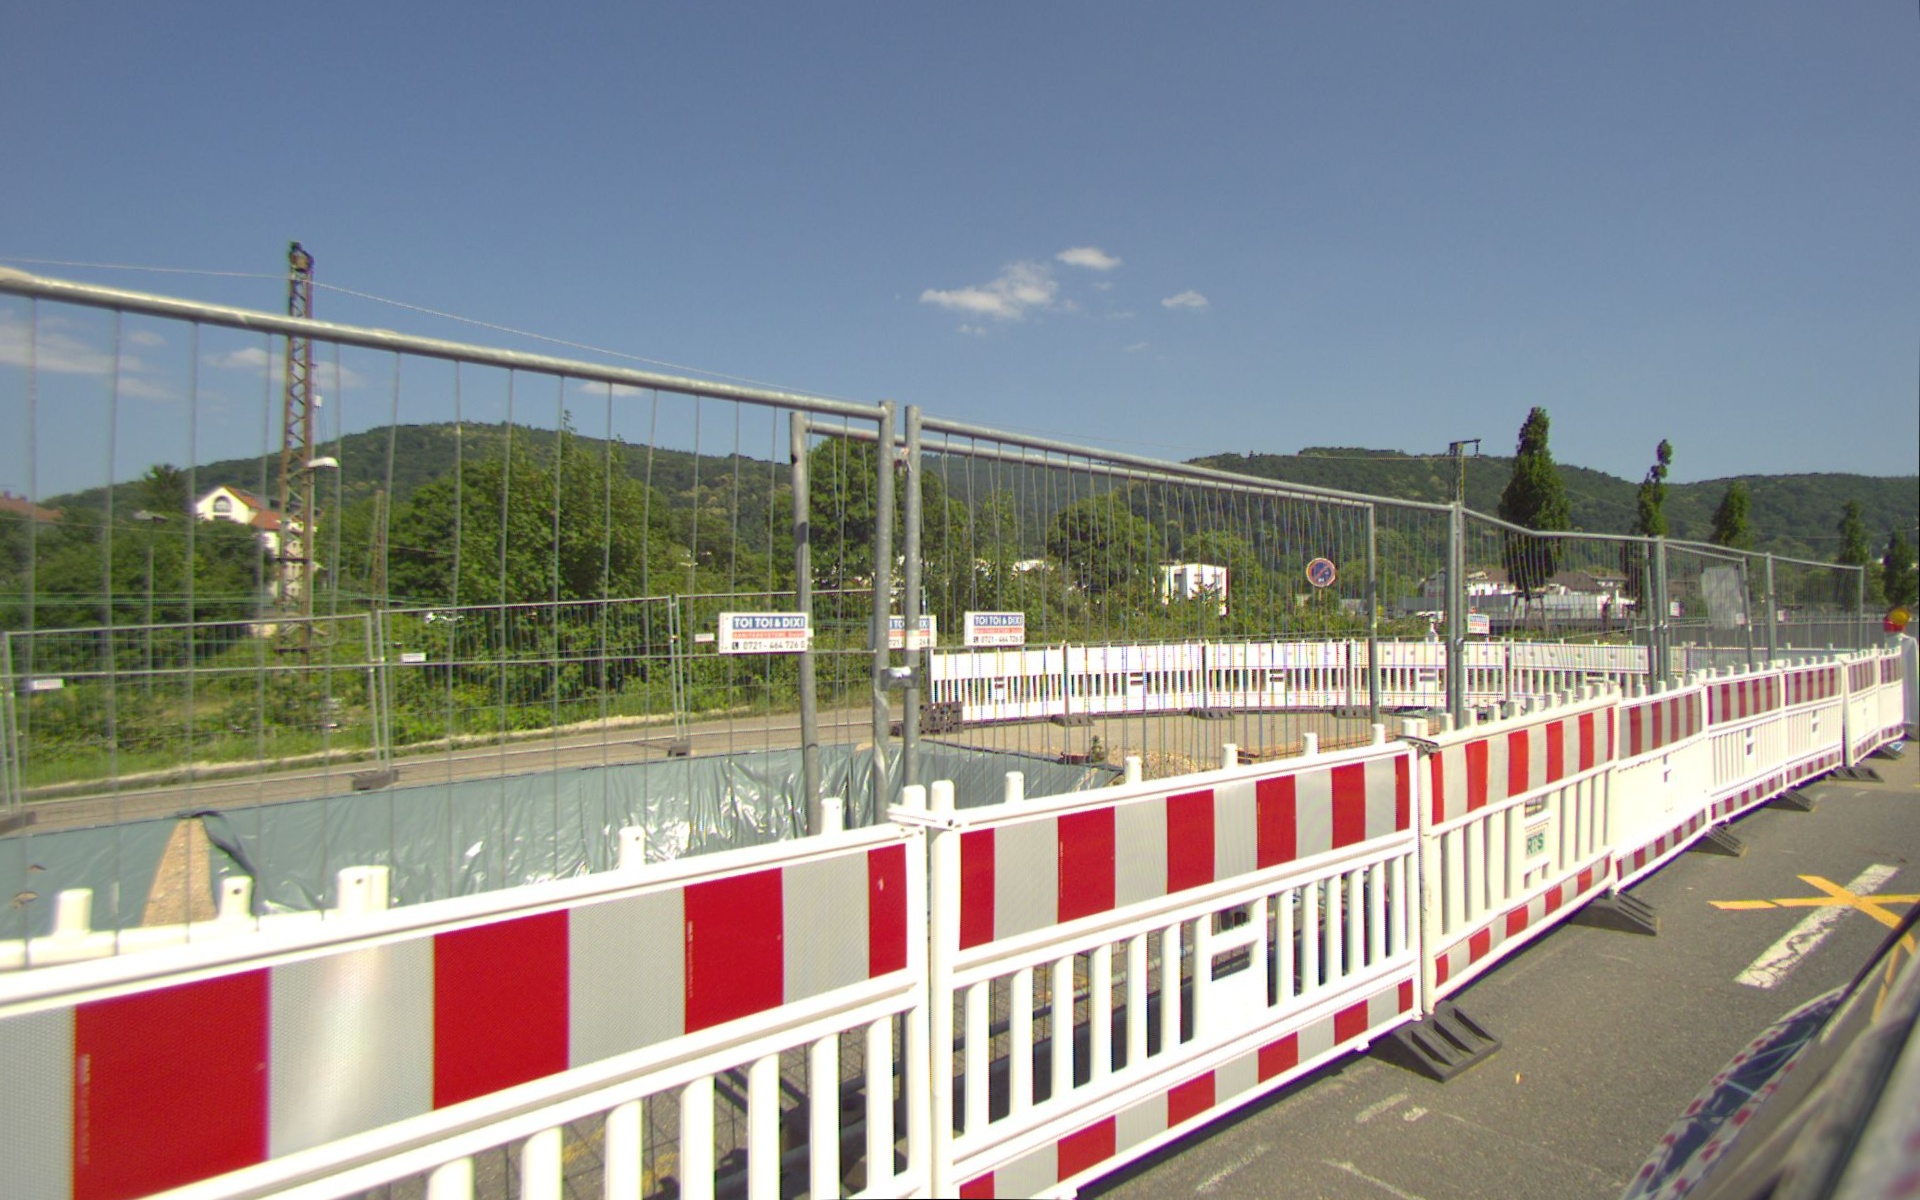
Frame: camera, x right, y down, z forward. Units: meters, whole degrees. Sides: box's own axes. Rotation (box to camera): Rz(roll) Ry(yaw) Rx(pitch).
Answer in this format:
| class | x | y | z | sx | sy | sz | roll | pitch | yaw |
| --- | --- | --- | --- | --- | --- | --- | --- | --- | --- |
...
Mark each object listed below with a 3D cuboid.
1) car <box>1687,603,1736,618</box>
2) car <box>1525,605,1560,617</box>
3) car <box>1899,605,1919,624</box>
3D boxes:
| class | x | y | z | sx | sy | sz | roll | pitch | yaw |
| --- | --- | --- | --- | --- | --- | --- | --- | --- | --- |
| car | 86.042 | 1.213 | 115.881 | 1.794 | 1.647 | 4.377 | -3 | 0 | -9 |
| car | 81.394 | 1.510 | 141.520 | 1.794 | 1.510 | 4.377 | -3 | 0 | -9 |
| car | 89.300 | 1.358 | 92.867 | 1.794 | 1.647 | 4.377 | -3 | 0 | -9 |
